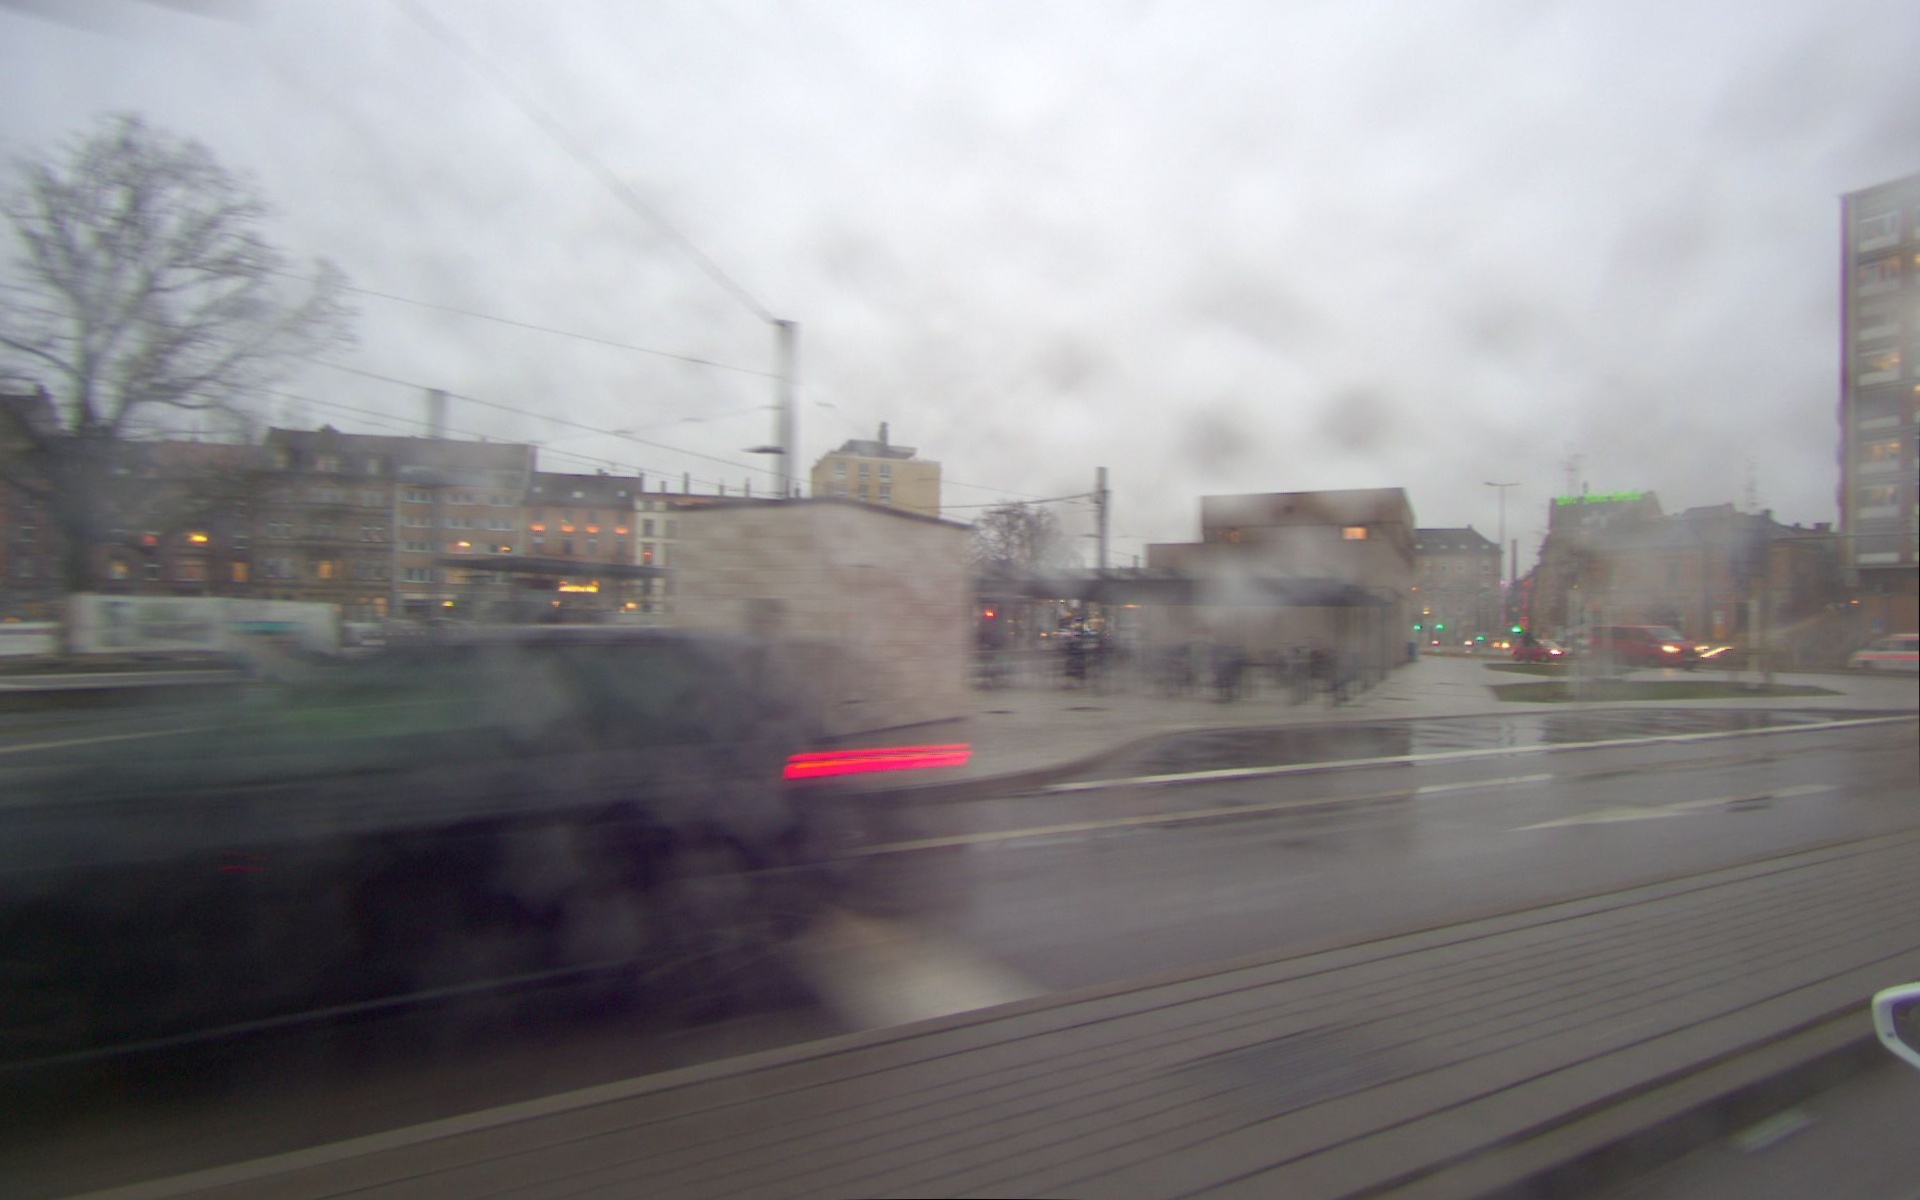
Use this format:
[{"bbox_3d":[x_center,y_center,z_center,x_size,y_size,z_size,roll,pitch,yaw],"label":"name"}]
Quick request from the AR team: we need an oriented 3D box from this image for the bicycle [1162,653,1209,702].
[{"bbox_3d":[5.834,1.970,25.902,0.541,1.180,1.894,3,-1,32],"label":"bicycle"}]

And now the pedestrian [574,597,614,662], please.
[{"bbox_3d":[-10.445,0.840,28.679,0.701,1.830,0.716,2,-1,28],"label":"pedestrian"}]

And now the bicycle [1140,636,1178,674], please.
[{"bbox_3d":[6.602,1.823,33.282,0.541,1.180,1.894,3,-1,32],"label":"bicycle"}]

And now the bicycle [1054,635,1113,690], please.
[{"bbox_3d":[2.862,1.427,23.135,0.541,1.180,1.894,3,-1,32],"label":"bicycle"}]

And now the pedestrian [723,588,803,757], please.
[{"bbox_3d":[-2.072,0.747,10.624,0.717,1.696,0.674,3,0,-9],"label":"pedestrian"}]

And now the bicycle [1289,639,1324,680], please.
[{"bbox_3d":[10.425,1.780,30.213,0.541,1.180,1.894,3,-1,32],"label":"bicycle"}]

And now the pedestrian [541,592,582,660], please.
[{"bbox_3d":[-11.036,0.726,27.831,0.701,1.830,0.716,2,-1,28],"label":"pedestrian"}]

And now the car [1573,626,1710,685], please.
[{"bbox_3d":[31.077,2.484,46.009,2.219,2.311,5.027,3,-1,-11],"label":"car"}]

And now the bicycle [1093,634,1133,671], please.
[{"bbox_3d":[5.114,1.737,33.472,0.541,1.180,1.894,3,-1,32],"label":"bicycle"}]

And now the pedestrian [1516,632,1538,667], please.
[{"bbox_3d":[28.642,2.480,50.759,0.781,1.719,0.461,3,0,-5],"label":"pedestrian"}]

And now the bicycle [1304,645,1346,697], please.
[{"bbox_3d":[8.981,1.726,24.705,0.541,1.180,1.894,3,-1,32],"label":"bicycle"}]

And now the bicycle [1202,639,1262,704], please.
[{"bbox_3d":[5.347,1.381,19.663,0.541,1.180,1.938,3,-1,32],"label":"bicycle"}]

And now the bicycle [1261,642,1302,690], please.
[{"bbox_3d":[8.461,1.712,26.394,0.541,1.180,1.894,3,-1,32],"label":"bicycle"}]

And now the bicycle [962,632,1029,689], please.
[{"bbox_3d":[0.803,1.307,21.975,0.541,1.180,1.894,3,-1,32],"label":"bicycle"}]

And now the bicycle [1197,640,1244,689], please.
[{"bbox_3d":[6.600,1.613,25.393,0.541,1.180,1.894,3,-1,32],"label":"bicycle"}]

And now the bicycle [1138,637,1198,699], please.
[{"bbox_3d":[4.278,1.377,20.573,0.541,1.180,1.894,3,-1,32],"label":"bicycle"}]

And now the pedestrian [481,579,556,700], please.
[{"bbox_3d":[-7.017,0.620,15.970,0.594,1.837,0.824,3,0,31],"label":"pedestrian"}]

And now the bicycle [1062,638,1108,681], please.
[{"bbox_3d":[3.715,1.743,29.682,0.541,1.180,1.894,3,-1,32],"label":"bicycle"}]

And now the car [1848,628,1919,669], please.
[{"bbox_3d":[48.379,2.495,50.724,1.965,1.938,5.159,2,0,-12],"label":"car"}]

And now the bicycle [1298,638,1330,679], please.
[{"bbox_3d":[10.995,1.797,31.165,0.540,1.180,1.896,3,-1,29],"label":"bicycle"}]

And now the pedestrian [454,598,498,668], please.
[{"bbox_3d":[-12.696,0.866,26.361,0.701,1.780,0.716,2,-1,28],"label":"pedestrian"}]

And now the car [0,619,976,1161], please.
[{"bbox_3d":[-2.230,0.791,3.740,4.313,1.396,1.739,1,-2,-29],"label":"car"}]
